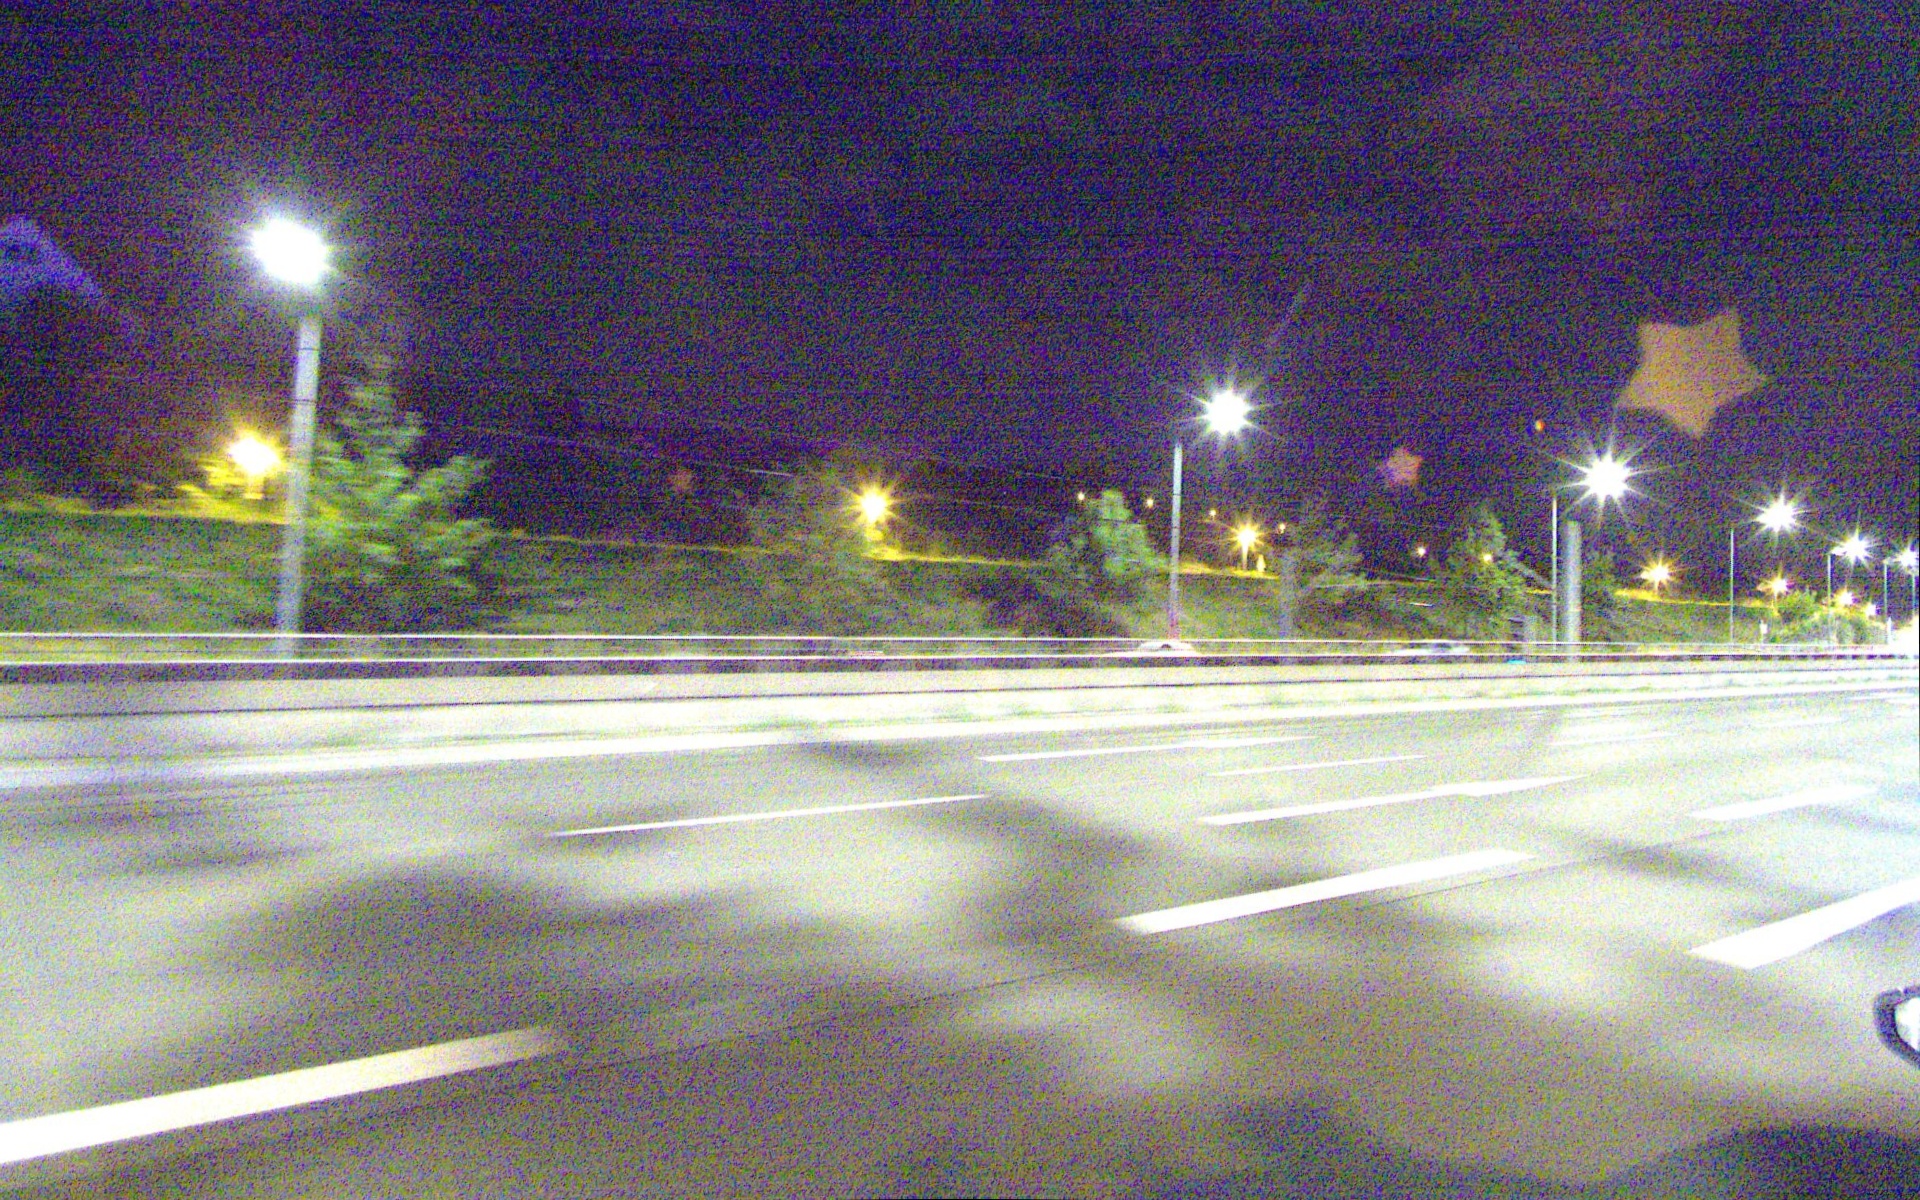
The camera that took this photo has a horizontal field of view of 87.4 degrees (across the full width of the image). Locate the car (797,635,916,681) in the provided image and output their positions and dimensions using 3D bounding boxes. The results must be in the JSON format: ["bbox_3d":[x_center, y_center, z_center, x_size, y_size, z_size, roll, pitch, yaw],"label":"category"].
[{"bbox_3d":[-3.224,1.832,31.497,3.353,1.286,1.520,3,-2,-31],"label":"car"}]

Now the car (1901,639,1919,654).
[{"bbox_3d":[101.837,4.936,106.882,3.637,1.500,1.617,3,-2,-31],"label":"car"}]

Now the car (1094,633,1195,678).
[{"bbox_3d":[7.672,2.271,41.623,3.957,1.707,1.821,1,0,-33],"label":"car"}]

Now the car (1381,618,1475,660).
[{"bbox_3d":[20.081,1.682,43.047,3.955,1.717,1.791,2,-1,-32],"label":"car"}]
